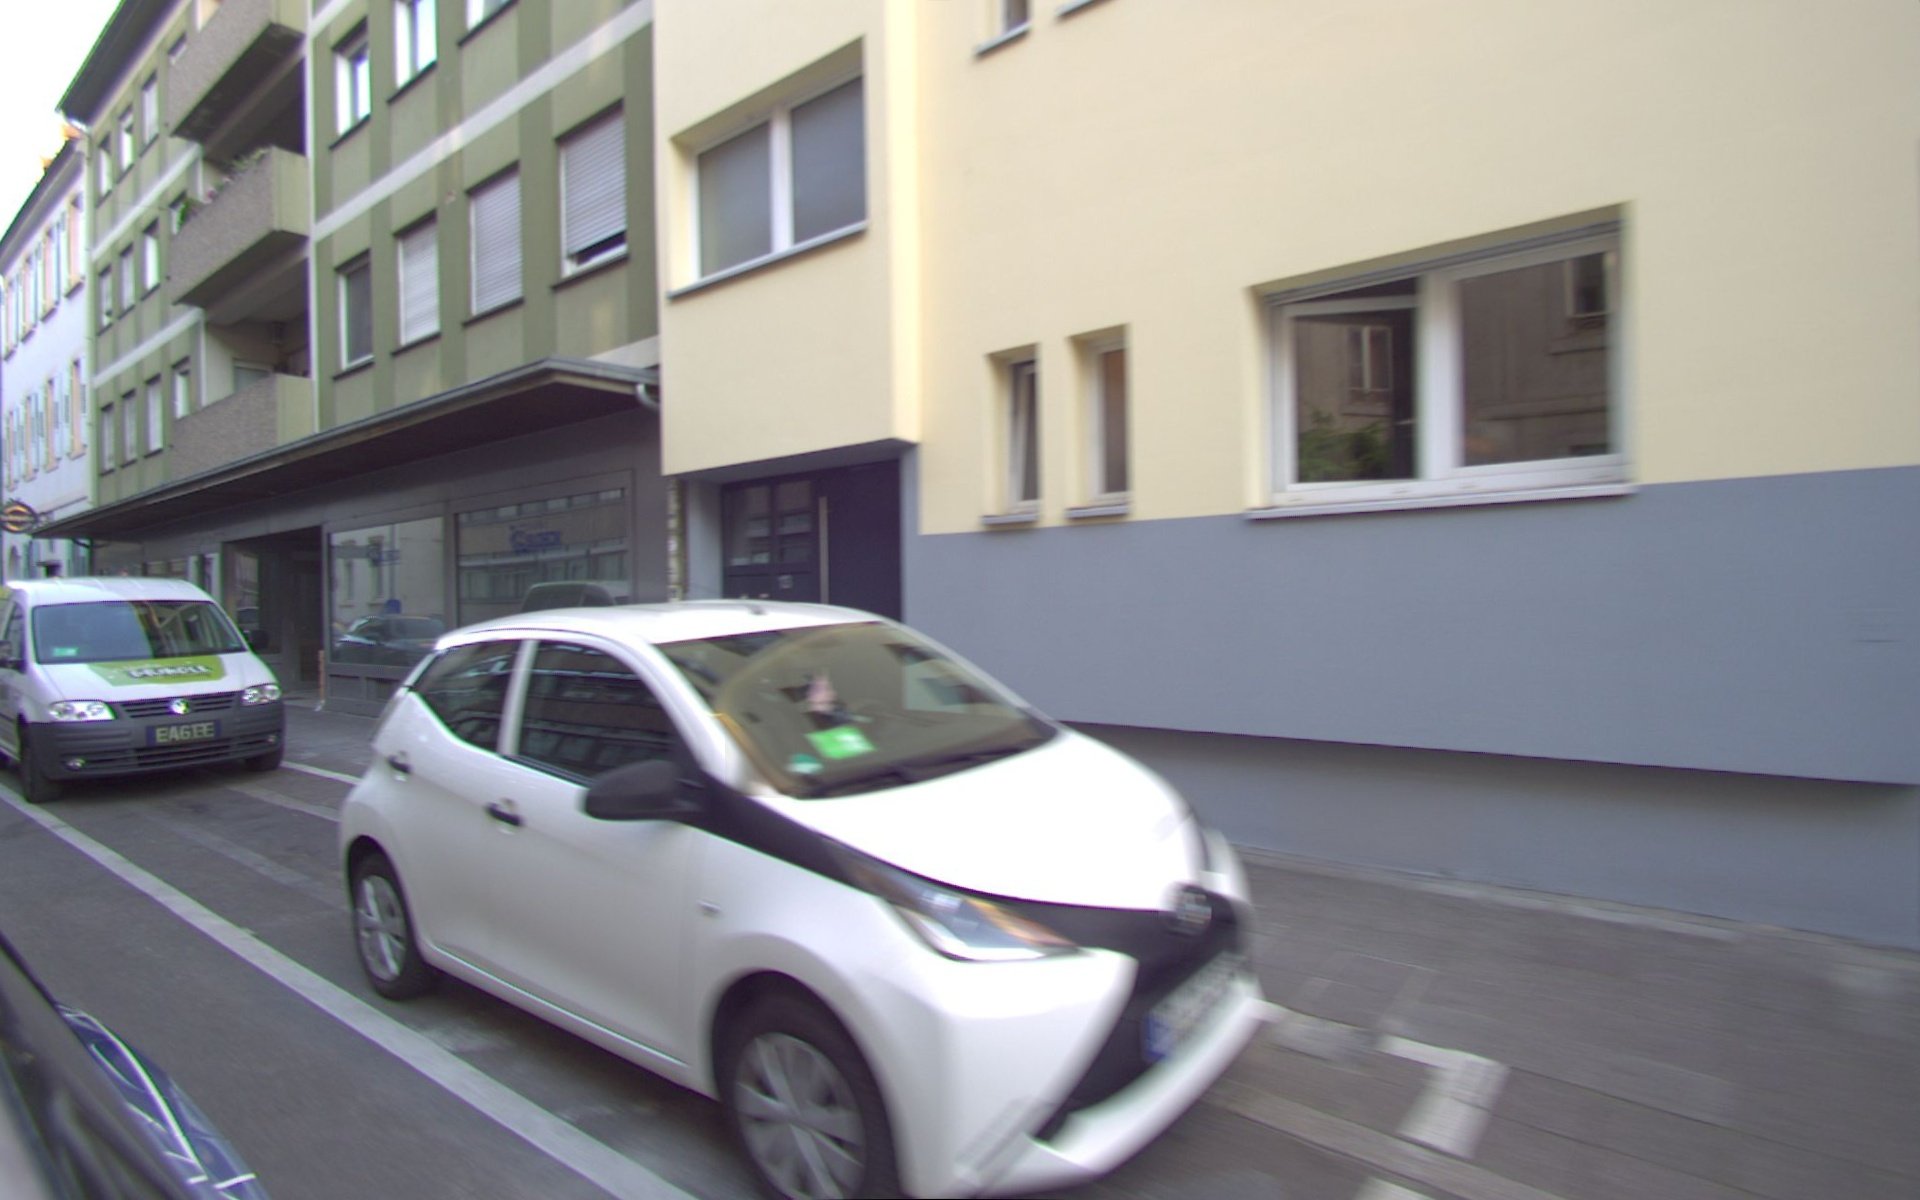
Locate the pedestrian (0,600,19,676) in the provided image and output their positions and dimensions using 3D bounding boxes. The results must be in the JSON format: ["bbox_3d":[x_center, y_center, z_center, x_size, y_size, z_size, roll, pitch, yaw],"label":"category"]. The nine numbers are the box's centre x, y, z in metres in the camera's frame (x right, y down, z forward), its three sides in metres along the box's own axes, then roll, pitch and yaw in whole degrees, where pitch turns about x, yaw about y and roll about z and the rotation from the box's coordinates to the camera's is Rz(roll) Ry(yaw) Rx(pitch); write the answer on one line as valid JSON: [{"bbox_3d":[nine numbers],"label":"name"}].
[{"bbox_3d":[-22.200,0.877,23.498,0.469,1.763,0.444,-1,0,40],"label":"pedestrian"}]

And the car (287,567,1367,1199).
[{"bbox_3d":[-0.687,0.709,3.466,3.517,1.459,1.646,-1,3,39],"label":"car"}]

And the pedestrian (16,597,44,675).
[{"bbox_3d":[-21.353,0.823,23.229,0.469,1.763,0.402,-1,0,41],"label":"pedestrian"}]

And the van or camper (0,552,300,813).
[{"bbox_3d":[-7.755,0.618,9.261,4.175,1.862,1.754,-1,-1,40],"label":"van or camper"}]

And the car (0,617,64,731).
[{"bbox_3d":[-13.872,0.978,13.903,3.975,1.426,1.609,-1,1,38],"label":"car"}]

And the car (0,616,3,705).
[{"bbox_3d":[-18.165,1.041,17.698,3.874,1.496,1.608,-1,-1,39],"label":"car"}]
